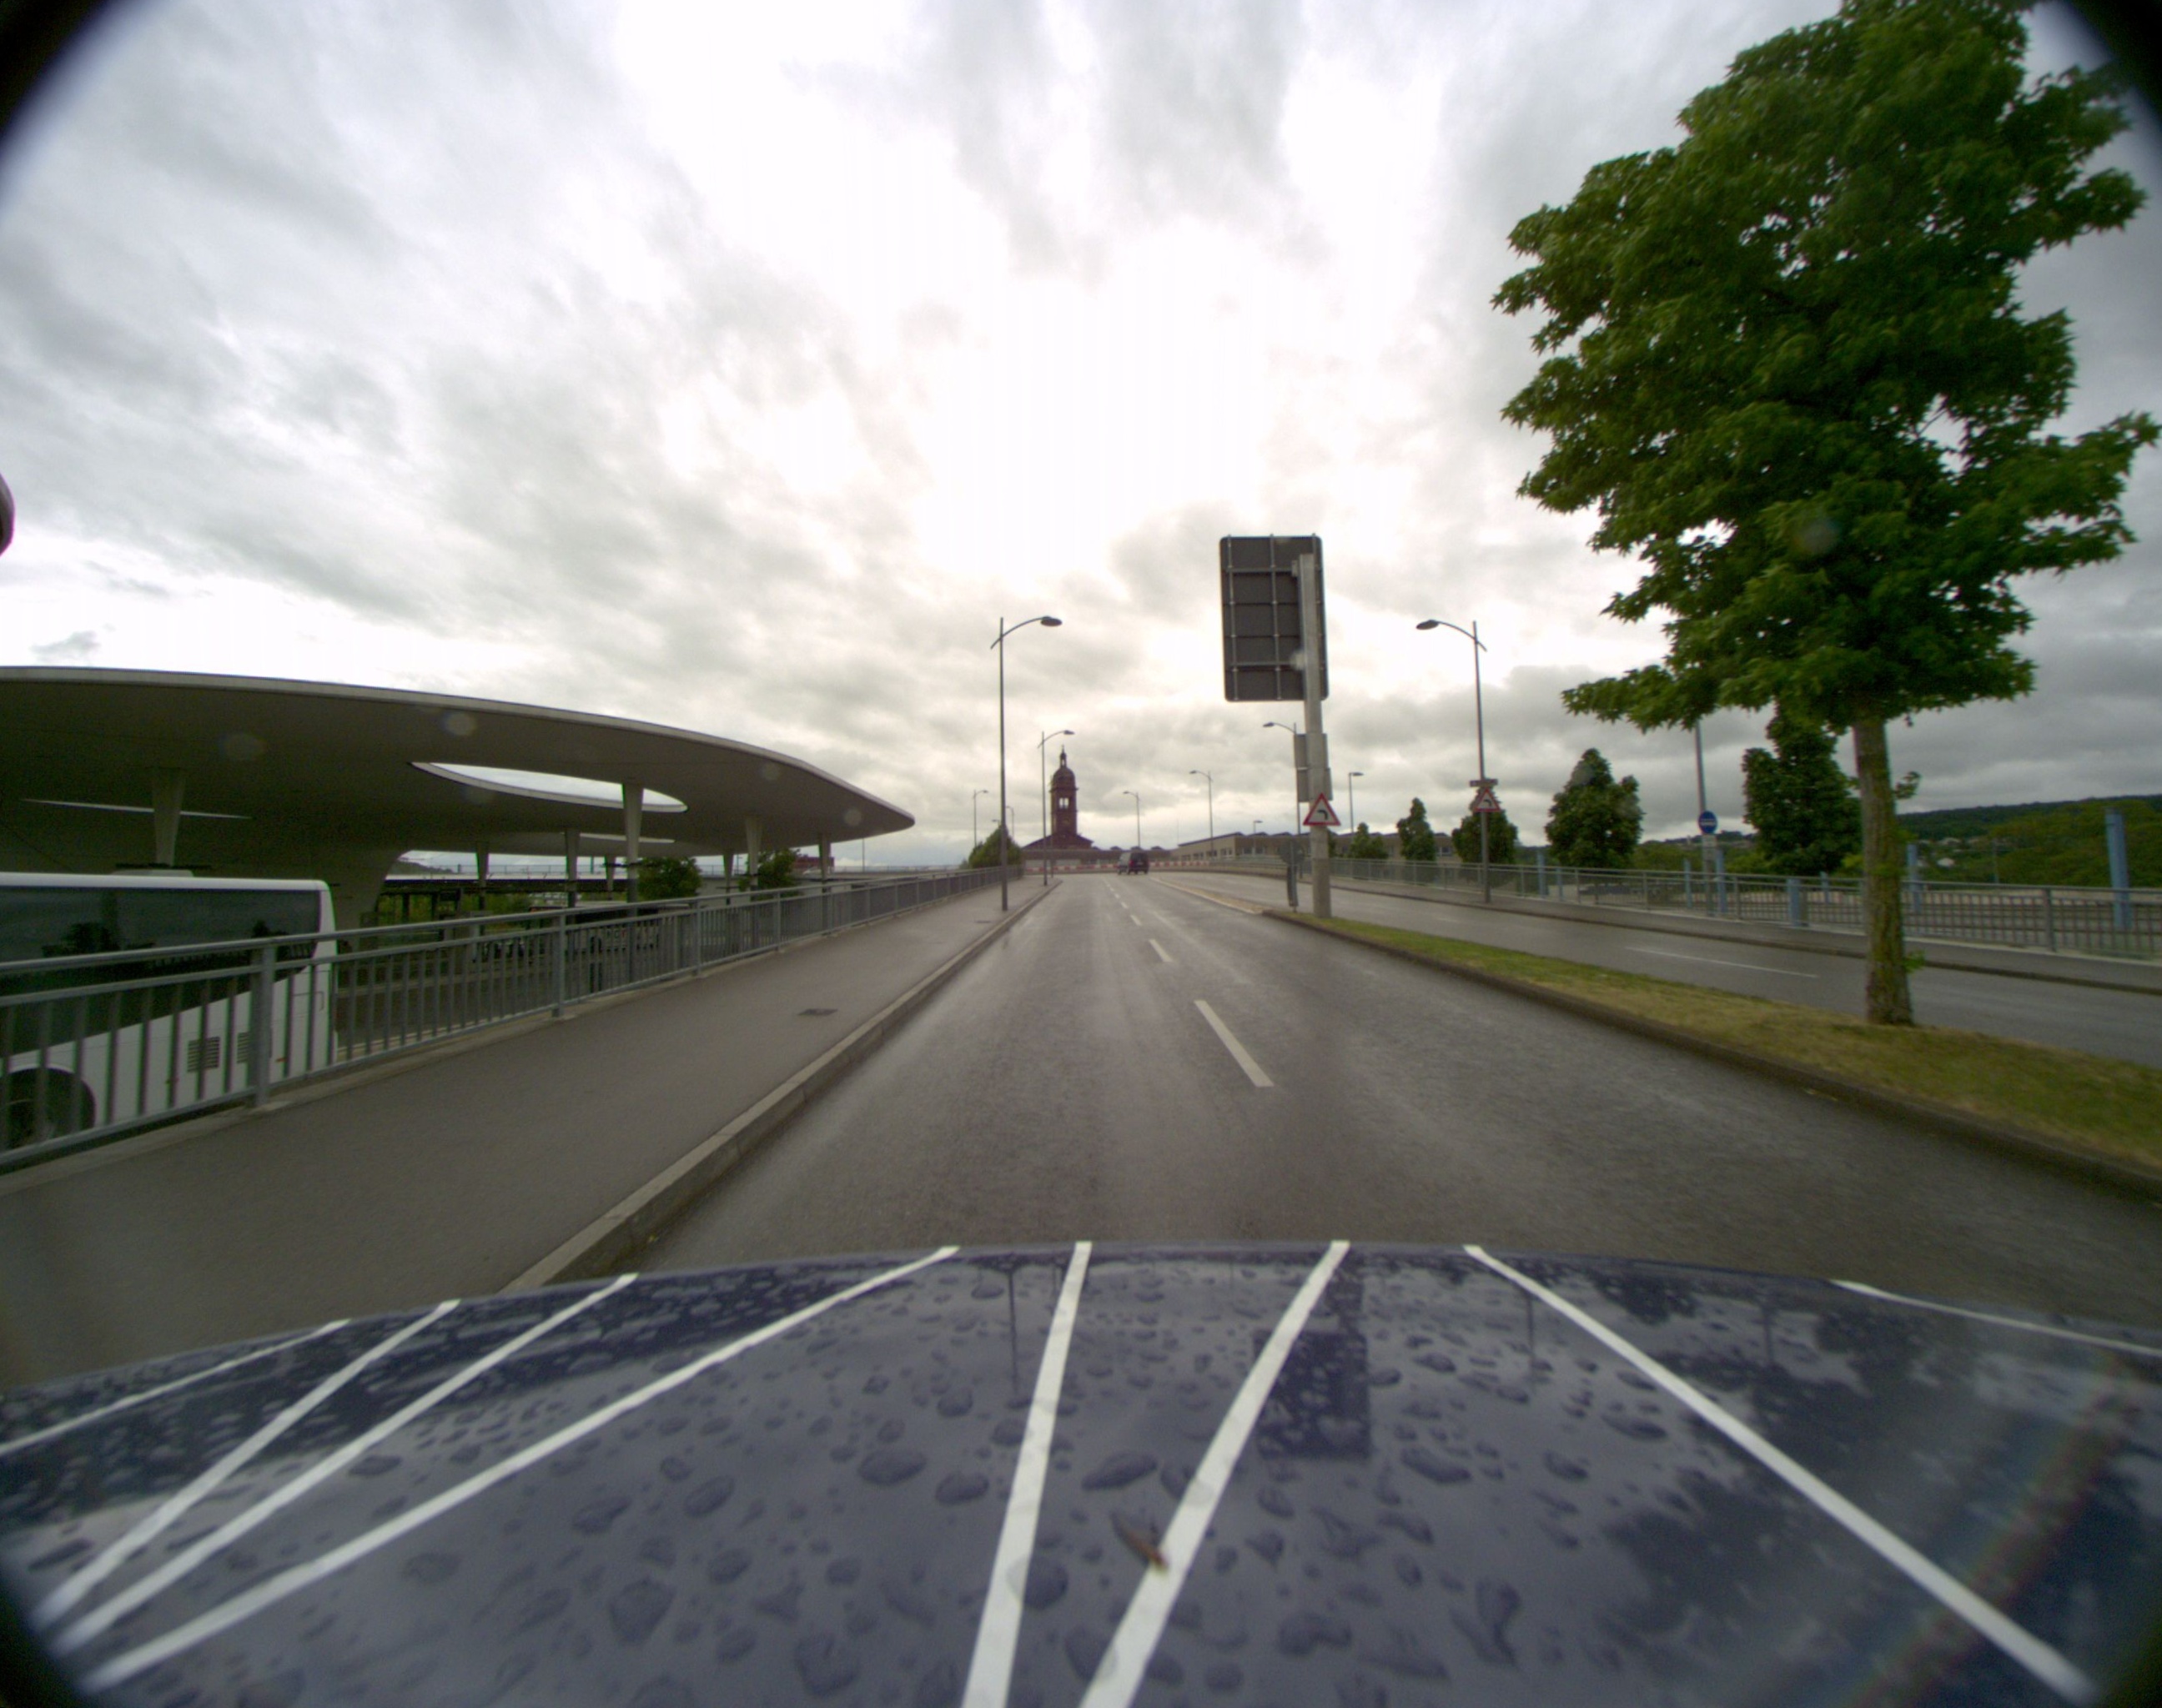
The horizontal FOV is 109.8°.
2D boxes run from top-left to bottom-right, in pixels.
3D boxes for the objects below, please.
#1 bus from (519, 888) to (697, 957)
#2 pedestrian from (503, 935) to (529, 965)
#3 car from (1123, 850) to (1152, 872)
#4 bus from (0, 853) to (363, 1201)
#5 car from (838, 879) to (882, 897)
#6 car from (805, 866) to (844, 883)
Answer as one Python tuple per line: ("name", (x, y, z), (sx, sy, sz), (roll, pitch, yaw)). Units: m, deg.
("bus", (-30.856, 4.295, 50.655), (2.794, 3.238, 12.146), (-4, 0, 8))
("pedestrian", (-24.636, 4.174, 33.125), (0.536, 1.157, 0.669), (-4, 1, -3))
("car", (5.104, 0.585, 69.038), (1.850, 1.956, 4.683), (-1, 1, -5))
("bus", (-11.924, 1.578, 4.812), (2.852, 3.340, 12.434), (-4, -4, 1))
("car", (-26.866, 4.175, 92.342), (4.683, 1.955, 2.115), (-2, -1, -2))
("car", (-32.790, 2.608, 97.102), (4.206, 1.955, 1.852), (-3, -1, 3))
